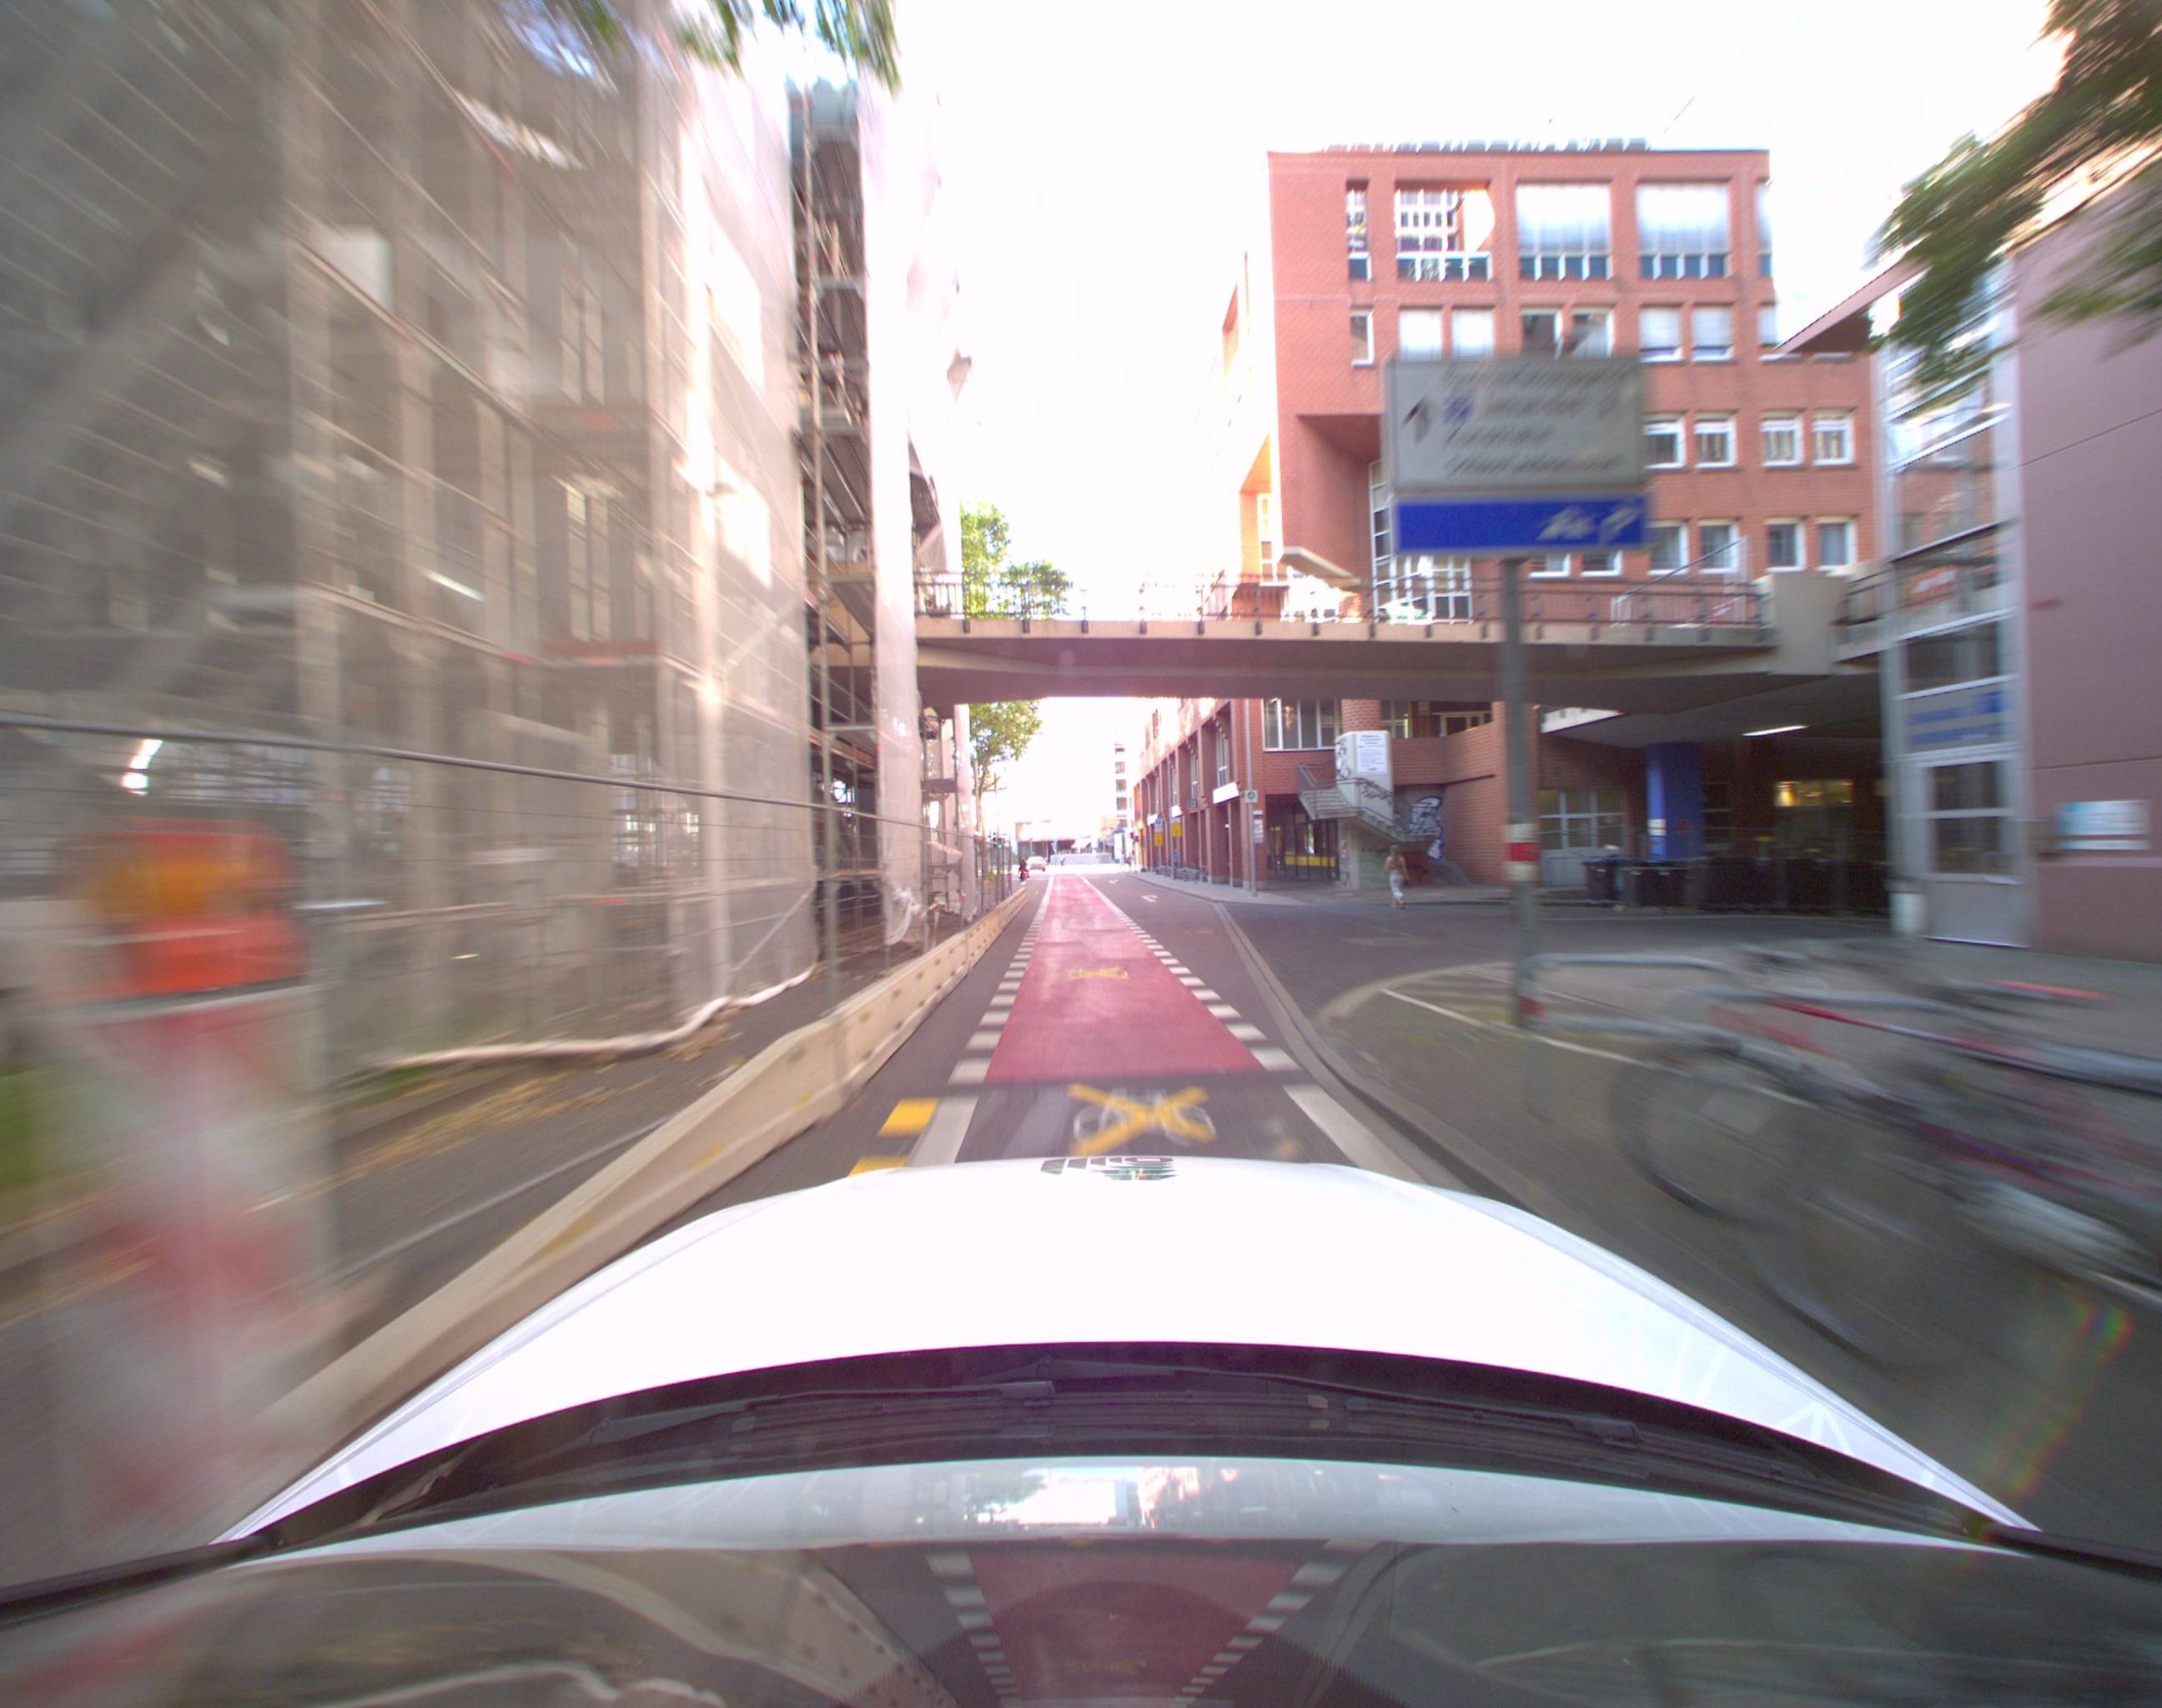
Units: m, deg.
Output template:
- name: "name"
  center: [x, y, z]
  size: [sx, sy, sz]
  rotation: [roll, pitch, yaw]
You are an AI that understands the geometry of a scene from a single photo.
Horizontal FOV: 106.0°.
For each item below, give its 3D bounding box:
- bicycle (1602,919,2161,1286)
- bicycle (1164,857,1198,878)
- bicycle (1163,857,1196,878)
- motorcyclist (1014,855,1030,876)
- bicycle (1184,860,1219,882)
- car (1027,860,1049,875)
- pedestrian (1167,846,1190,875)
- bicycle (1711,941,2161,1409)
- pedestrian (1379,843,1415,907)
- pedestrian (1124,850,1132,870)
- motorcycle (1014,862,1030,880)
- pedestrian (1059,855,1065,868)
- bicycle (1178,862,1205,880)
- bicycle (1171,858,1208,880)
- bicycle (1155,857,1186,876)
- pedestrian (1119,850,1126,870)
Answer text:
- name: "bicycle"
  center: [2.944, 0.806, 3.026]
  size: [1.661, 1.067, 0.504]
  rotation: [-2, 0, 32]
- name: "bicycle"
  center: [5.894, 0.804, 47.990]
  size: [1.887, 1.119, 0.550]
  rotation: [-3, 0, -2]
- name: "bicycle"
  center: [5.871, 0.788, 48.564]
  size: [1.886, 1.119, 0.474]
  rotation: [-3, 0, -2]
- name: "motorcyclist"
  center: [-3.904, 0.728, 53.761]
  size: [0.968, 1.347, 1.137]
  rotation: [-1, 0, -3]
- name: "bicycle"
  center: [6.083, 0.852, 41.128]
  size: [1.606, 0.955, 0.555]
  rotation: [-5, 0, -1]
- name: "car"
  center: [-4.331, 1.327, 80.690]
  size: [1.921, 1.388, 3.992]
  rotation: [-3, 0, -6]
- name: "pedestrian"
  center: [6.074, 0.402, 50.611]
  size: [1.190, 1.696, 0.885]
  rotation: [-5, 0, 1]
- name: "bicycle"
  center: [2.788, 0.817, 2.187]
  size: [1.661, 1.067, 0.504]
  rotation: [-2, 0, 32]
- name: "pedestrian"
  center: [8.201, 0.535, 21.169]
  size: [0.568, 1.633, 0.777]
  rotation: [-2, 0, -3]
- name: "pedestrian"
  center: [4.190, 0.526, 72.480]
  size: [0.632, 1.725, 0.630]
  rotation: [-2, 0, -2]
- name: "motorcycle"
  center: [-3.912, 1.109, 54.035]
  size: [0.971, 1.131, 2.802]
  rotation: [-1, 0, -2]
- name: "pedestrian"
  center: [-2.483, 1.001, 108.426]
  size: [0.544, 1.583, 0.550]
  rotation: [-3, 0, -45]
- name: "bicycle"
  center: [5.951, 0.901, 43.874]
  size: [1.330, 0.841, 0.424]
  rotation: [-5, 0, -1]
- name: "bicycle"
  center: [6.023, 0.813, 45.338]
  size: [1.926, 1.057, 0.573]
  rotation: [-5, 0, 1]
- name: "bicycle"
  center: [5.735, 0.782, 52.155]
  size: [1.887, 1.119, 0.474]
  rotation: [-3, 0, -3]
- name: "pedestrian"
  center: [3.675, 0.528, 72.402]
  size: [0.474, 1.792, 0.540]
  rotation: [-2, 0, -2]
